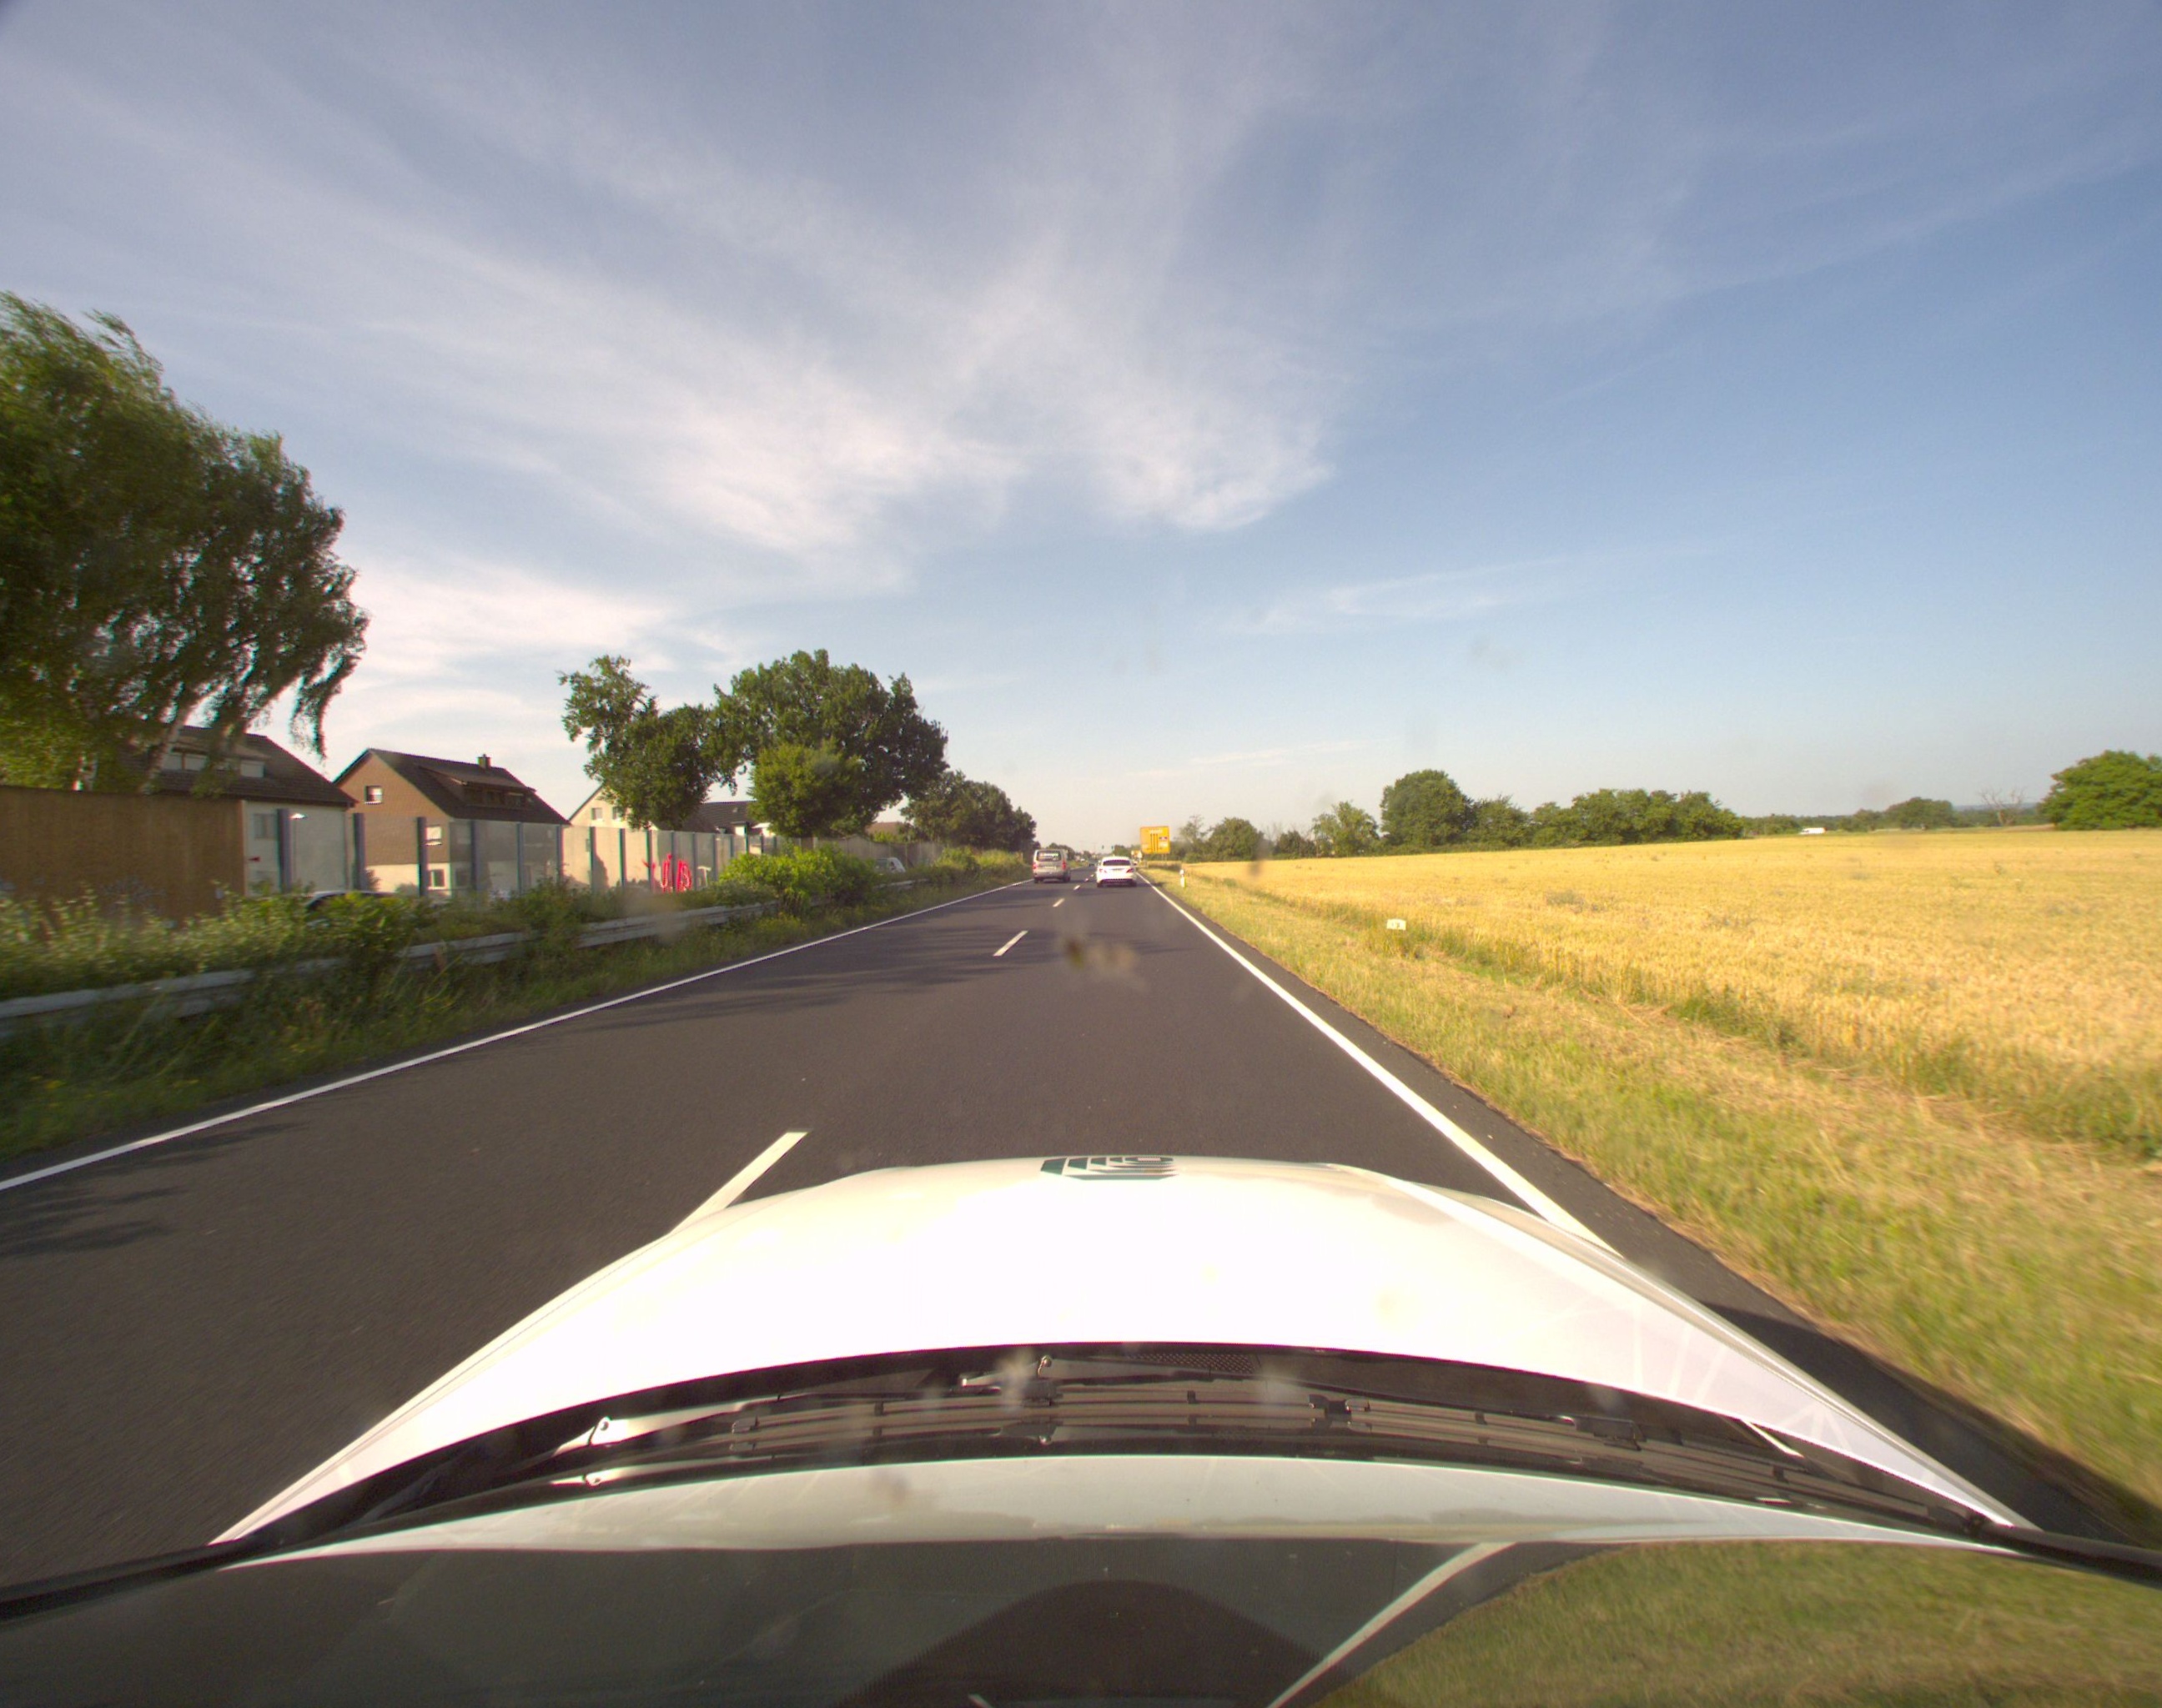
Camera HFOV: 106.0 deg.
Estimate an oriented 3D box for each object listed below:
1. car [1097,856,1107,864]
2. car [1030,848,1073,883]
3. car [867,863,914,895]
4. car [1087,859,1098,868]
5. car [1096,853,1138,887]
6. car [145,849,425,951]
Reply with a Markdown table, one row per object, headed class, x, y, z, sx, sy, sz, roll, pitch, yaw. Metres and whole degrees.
| class | x | y | z | sx | sy | sz | roll | pitch | yaw |
| --- | --- | --- | --- | --- | --- | --- | --- | --- | --- |
| car | 4.352 | 1.328 | 169.145 | 1.871 | 1.651 | 3.664 | 0 | -1 | 0 |
| car | -1.635 | 0.610 | 46.544 | 2.017 | 1.892 | 4.962 | 0 | 0 | 3 |
| car | -9.157 | 1.194 | 39.373 | 1.411 | 1.462 | 3.148 | 0 | -1 | 2 |
| car | 1.991 | 1.627 | 140.258 | 1.710 | 1.492 | 3.586 | 0 | -1 | 2 |
| car | 1.698 | 0.747 | 39.136 | 1.887 | 1.509 | 4.001 | -1 | -1 | 2 |
| car | -14.358 | 0.772 | 14.982 | 1.800 | 1.662 | 3.336 | 0 | -1 | 2 |
